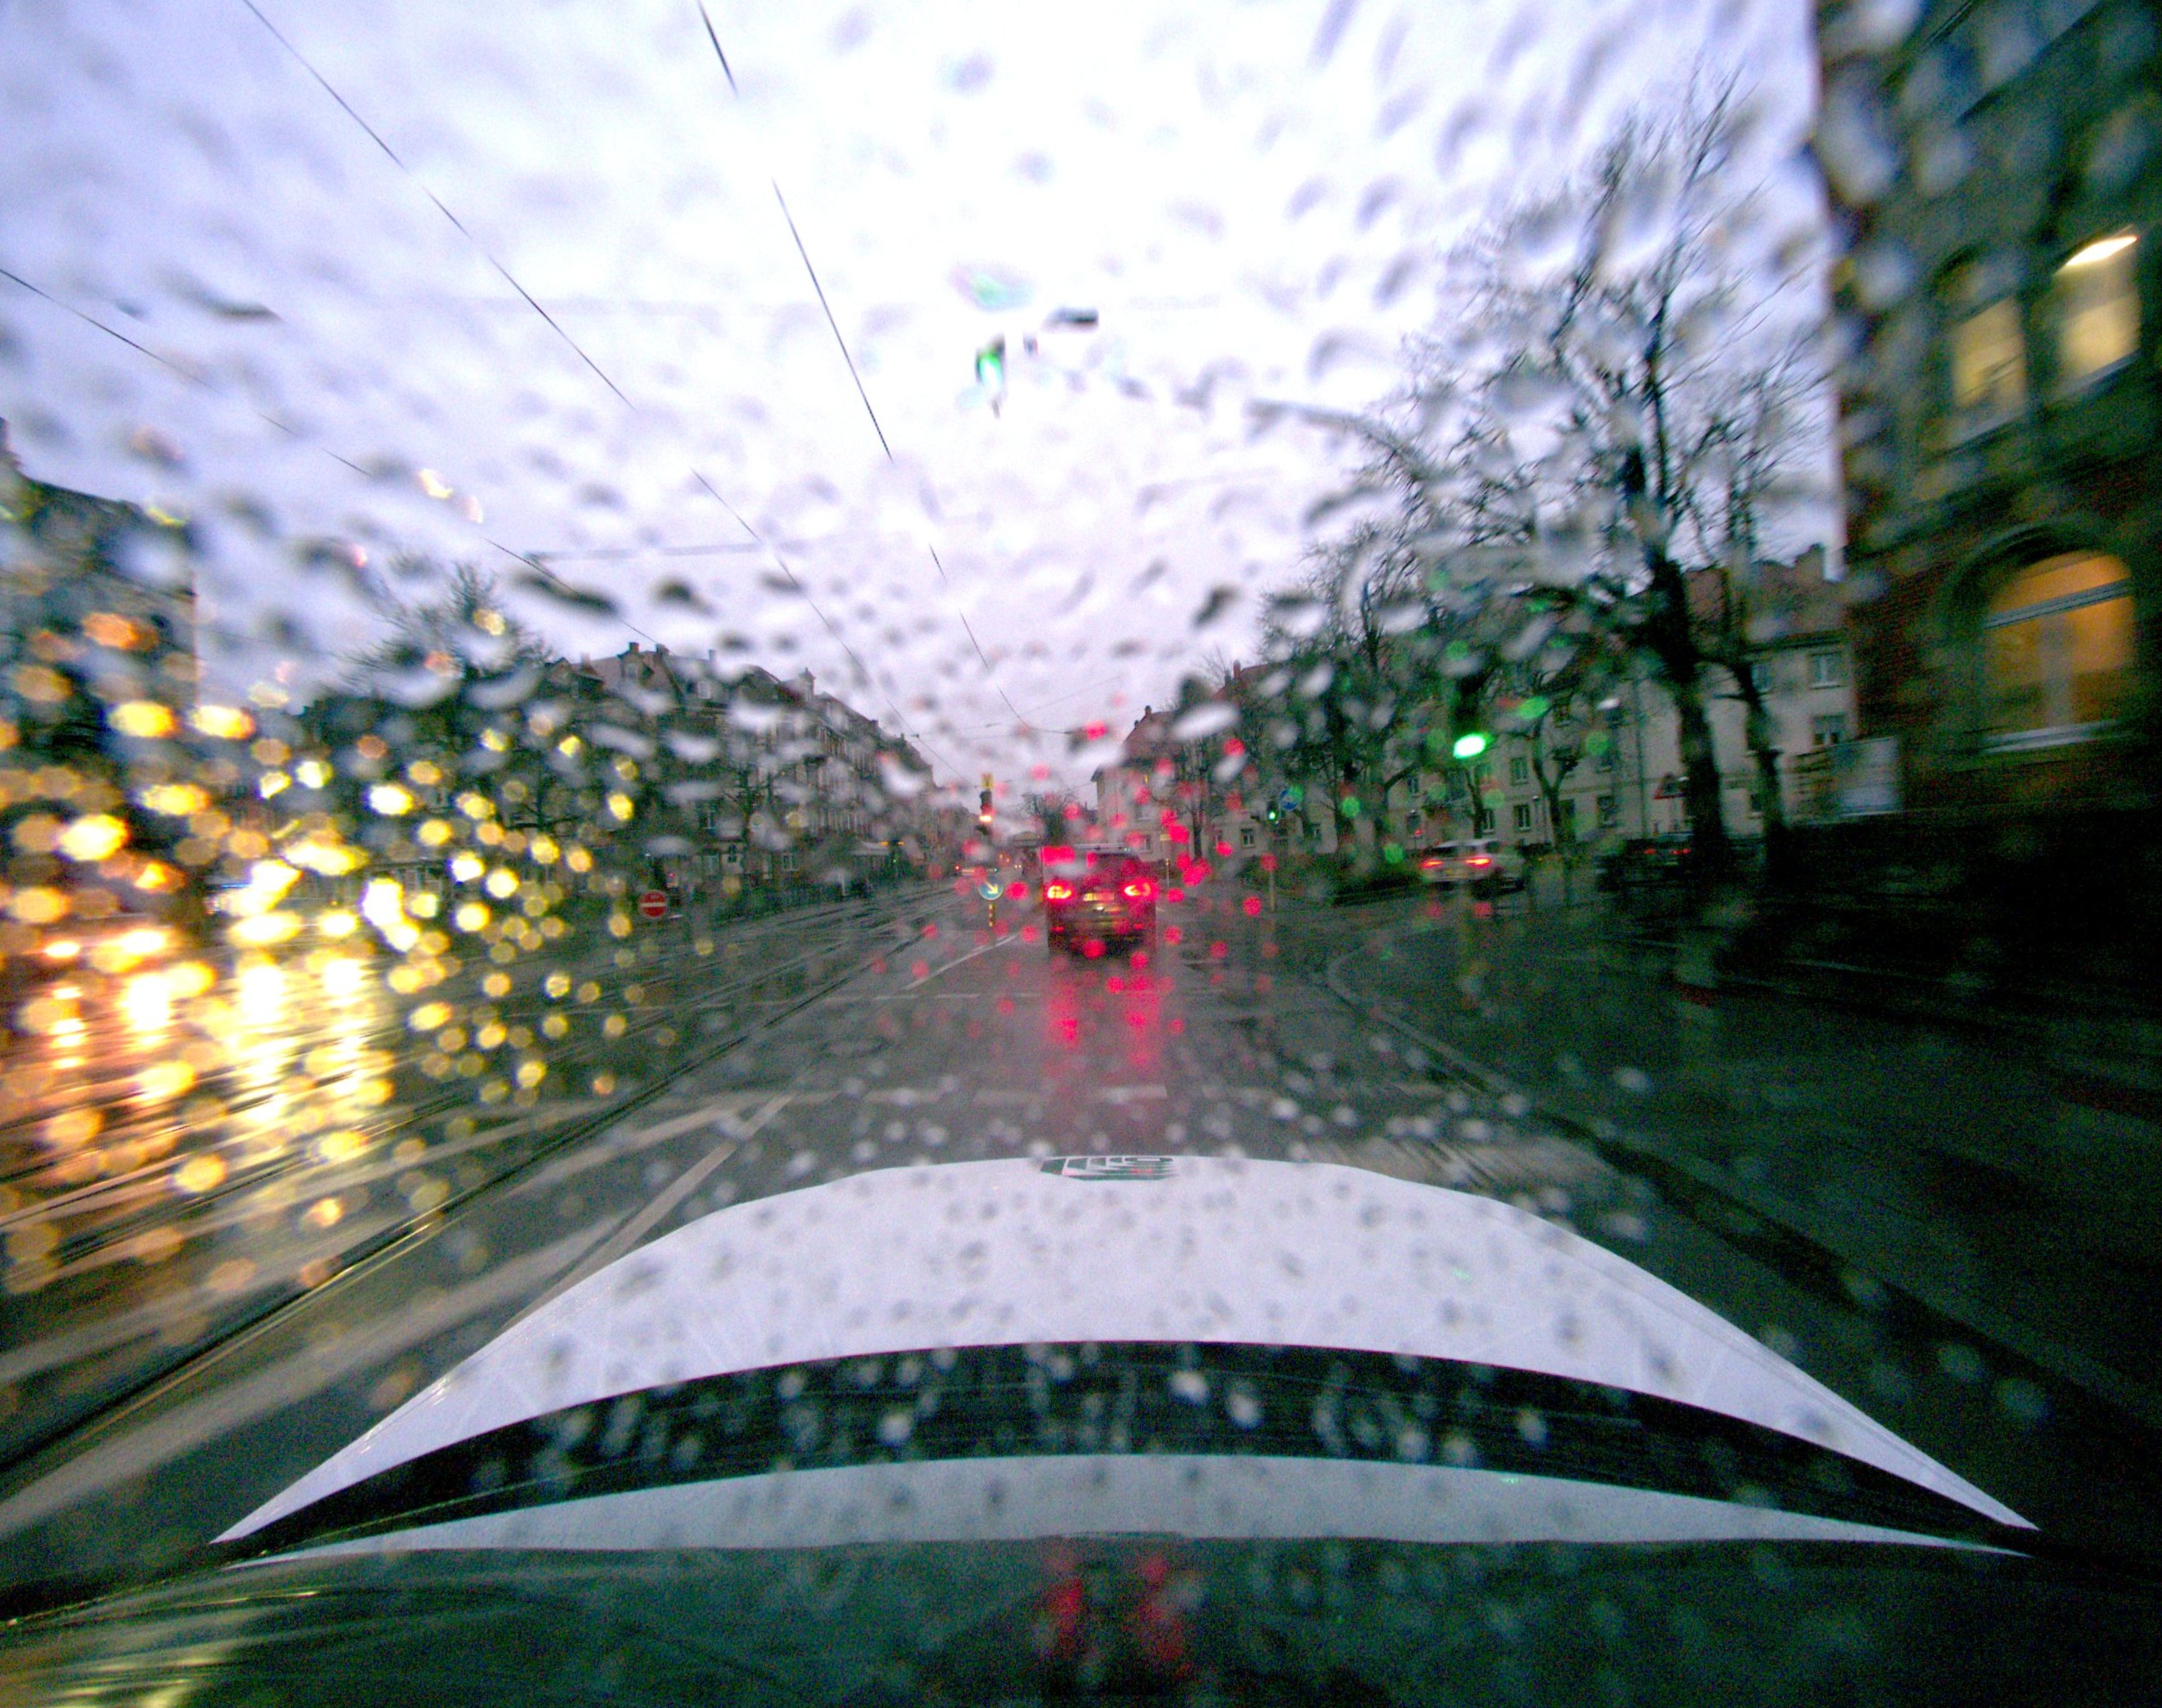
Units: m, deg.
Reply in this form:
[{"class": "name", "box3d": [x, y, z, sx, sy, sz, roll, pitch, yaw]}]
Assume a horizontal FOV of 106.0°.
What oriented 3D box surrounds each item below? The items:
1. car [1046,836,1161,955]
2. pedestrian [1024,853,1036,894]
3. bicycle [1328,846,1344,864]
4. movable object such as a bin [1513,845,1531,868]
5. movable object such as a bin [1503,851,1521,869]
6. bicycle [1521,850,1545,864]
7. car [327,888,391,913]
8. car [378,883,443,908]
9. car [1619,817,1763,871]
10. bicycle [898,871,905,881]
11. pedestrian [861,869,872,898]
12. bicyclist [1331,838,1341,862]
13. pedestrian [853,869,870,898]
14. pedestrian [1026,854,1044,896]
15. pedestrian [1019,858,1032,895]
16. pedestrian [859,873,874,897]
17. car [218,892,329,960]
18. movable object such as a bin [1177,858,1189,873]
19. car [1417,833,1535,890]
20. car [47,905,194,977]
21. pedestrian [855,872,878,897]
[{"class": "car", "box3d": [0.320, 0.684, 14.830, 1.797, 1.871, 4.015, 0, -1, -1]}, {"class": "pedestrian", "box3d": [-2.551, 0.968, 40.550, 0.556, 1.987, 0.570, 0, -1, -2]}, {"class": "bicycle", "box3d": [19.731, 0.083, 63.069, 0.465, 1.291, 1.912, -3, -1, -2]}, {"class": "movable object such as a bin", "box3d": [24.410, 0.121, 45.116, 0.528, 1.228, 0.647, -2, -1, -15]}, {"class": "movable object such as a bin", "box3d": [24.230, 0.319, 45.776, 0.528, 0.980, 0.647, -2, -1, -15]}, {"class": "bicycle", "box3d": [25.816, 0.190, 46.521, 0.338, 0.766, 1.586, -3, -1, -5]}, {"class": "car", "box3d": [-58.338, 3.770, 65.806, 3.956, 1.706, 2.009, -3, -1, 16]}, {"class": "car", "box3d": [-52.937, 3.268, 64.297, 3.956, 1.706, 2.009, -3, -1, 16]}, {"class": "car", "box3d": [20.830, -0.294, 27.830, 4.338, 1.729, 1.796, 1, -1, -19]}, {"class": "bicycle", "box3d": [-18.980, 2.370, 86.168, 0.415, 1.007, 1.848, -3, -1, -1]}, {"class": "pedestrian", "box3d": [-10.721, 1.473, 40.716, 0.472, 1.403, 0.453, 0, -1, -3]}, {"class": "bicyclist", "box3d": [19.708, -0.310, 62.930, 0.465, 1.886, 0.679, -3, -1, -3]}, {"class": "pedestrian", "box3d": [-10.844, 1.466, 40.221, 0.682, 1.403, 0.577, 0, -1, -3]}, {"class": "pedestrian", "box3d": [-2.149, 0.971, 38.060, 0.851, 1.956, 0.570, 0, -1, -2]}, {"class": "pedestrian", "box3d": [-2.692, 1.090, 39.527, 0.556, 1.741, 0.570, 0, -1, -2]}, {"class": "pedestrian", "box3d": [-11.154, 1.604, 42.363, 0.651, 1.218, 0.516, 0, -1, -3]}, {"class": "car", "box3d": [-22.321, 1.912, 22.666, 1.947, 1.583, 4.291, 0, -1, -42]}, {"class": "movable object such as a bin", "box3d": [8.650, 0.945, 68.854, 0.843, 1.252, 0.525, -1, -1, 40]}, {"class": "car", "box3d": [11.701, 0.236, 23.955, 1.875, 1.510, 4.782, -1, -1, 42]}, {"class": "car", "box3d": [-24.650, 2.168, 21.050, 1.621, 1.472, 3.783, 1, -1, -37]}, {"class": "pedestrian", "box3d": [-11.000, 1.576, 41.836, 1.053, 1.254, 0.506, 0, -1, -4]}]
